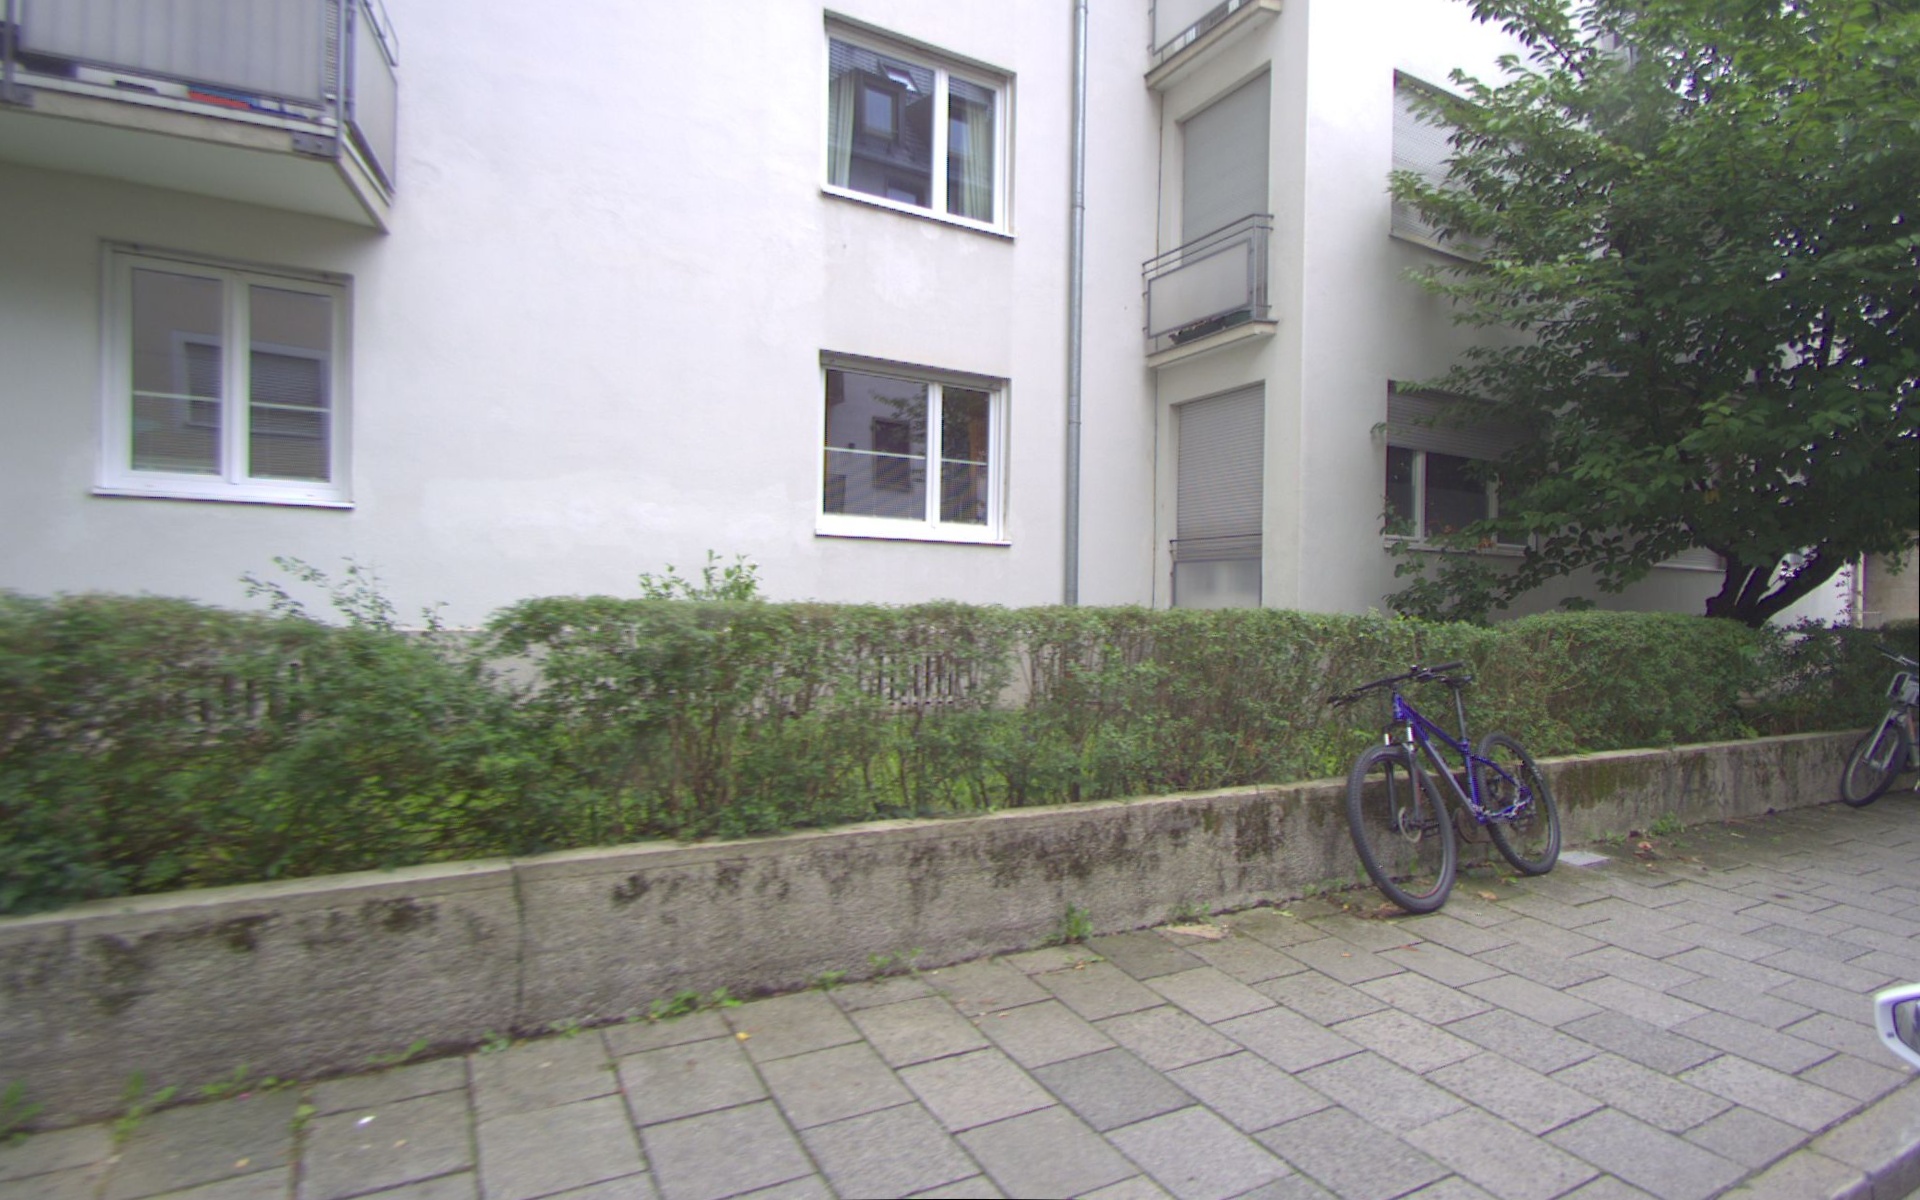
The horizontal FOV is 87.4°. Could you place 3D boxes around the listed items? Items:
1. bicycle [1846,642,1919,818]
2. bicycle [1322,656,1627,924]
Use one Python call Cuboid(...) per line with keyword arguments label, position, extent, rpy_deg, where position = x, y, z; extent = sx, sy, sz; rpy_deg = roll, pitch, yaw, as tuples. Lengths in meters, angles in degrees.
Cuboid(label="bicycle", position=(7.245, 0.926, 7.395), extent=(1.678, 1.167, 0.486), rpy_deg=(2, 2, -29))
Cuboid(label="bicycle", position=(2.509, 0.835, 4.820), extent=(1.759, 1.086, 0.345), rpy_deg=(1, 3, -30))
